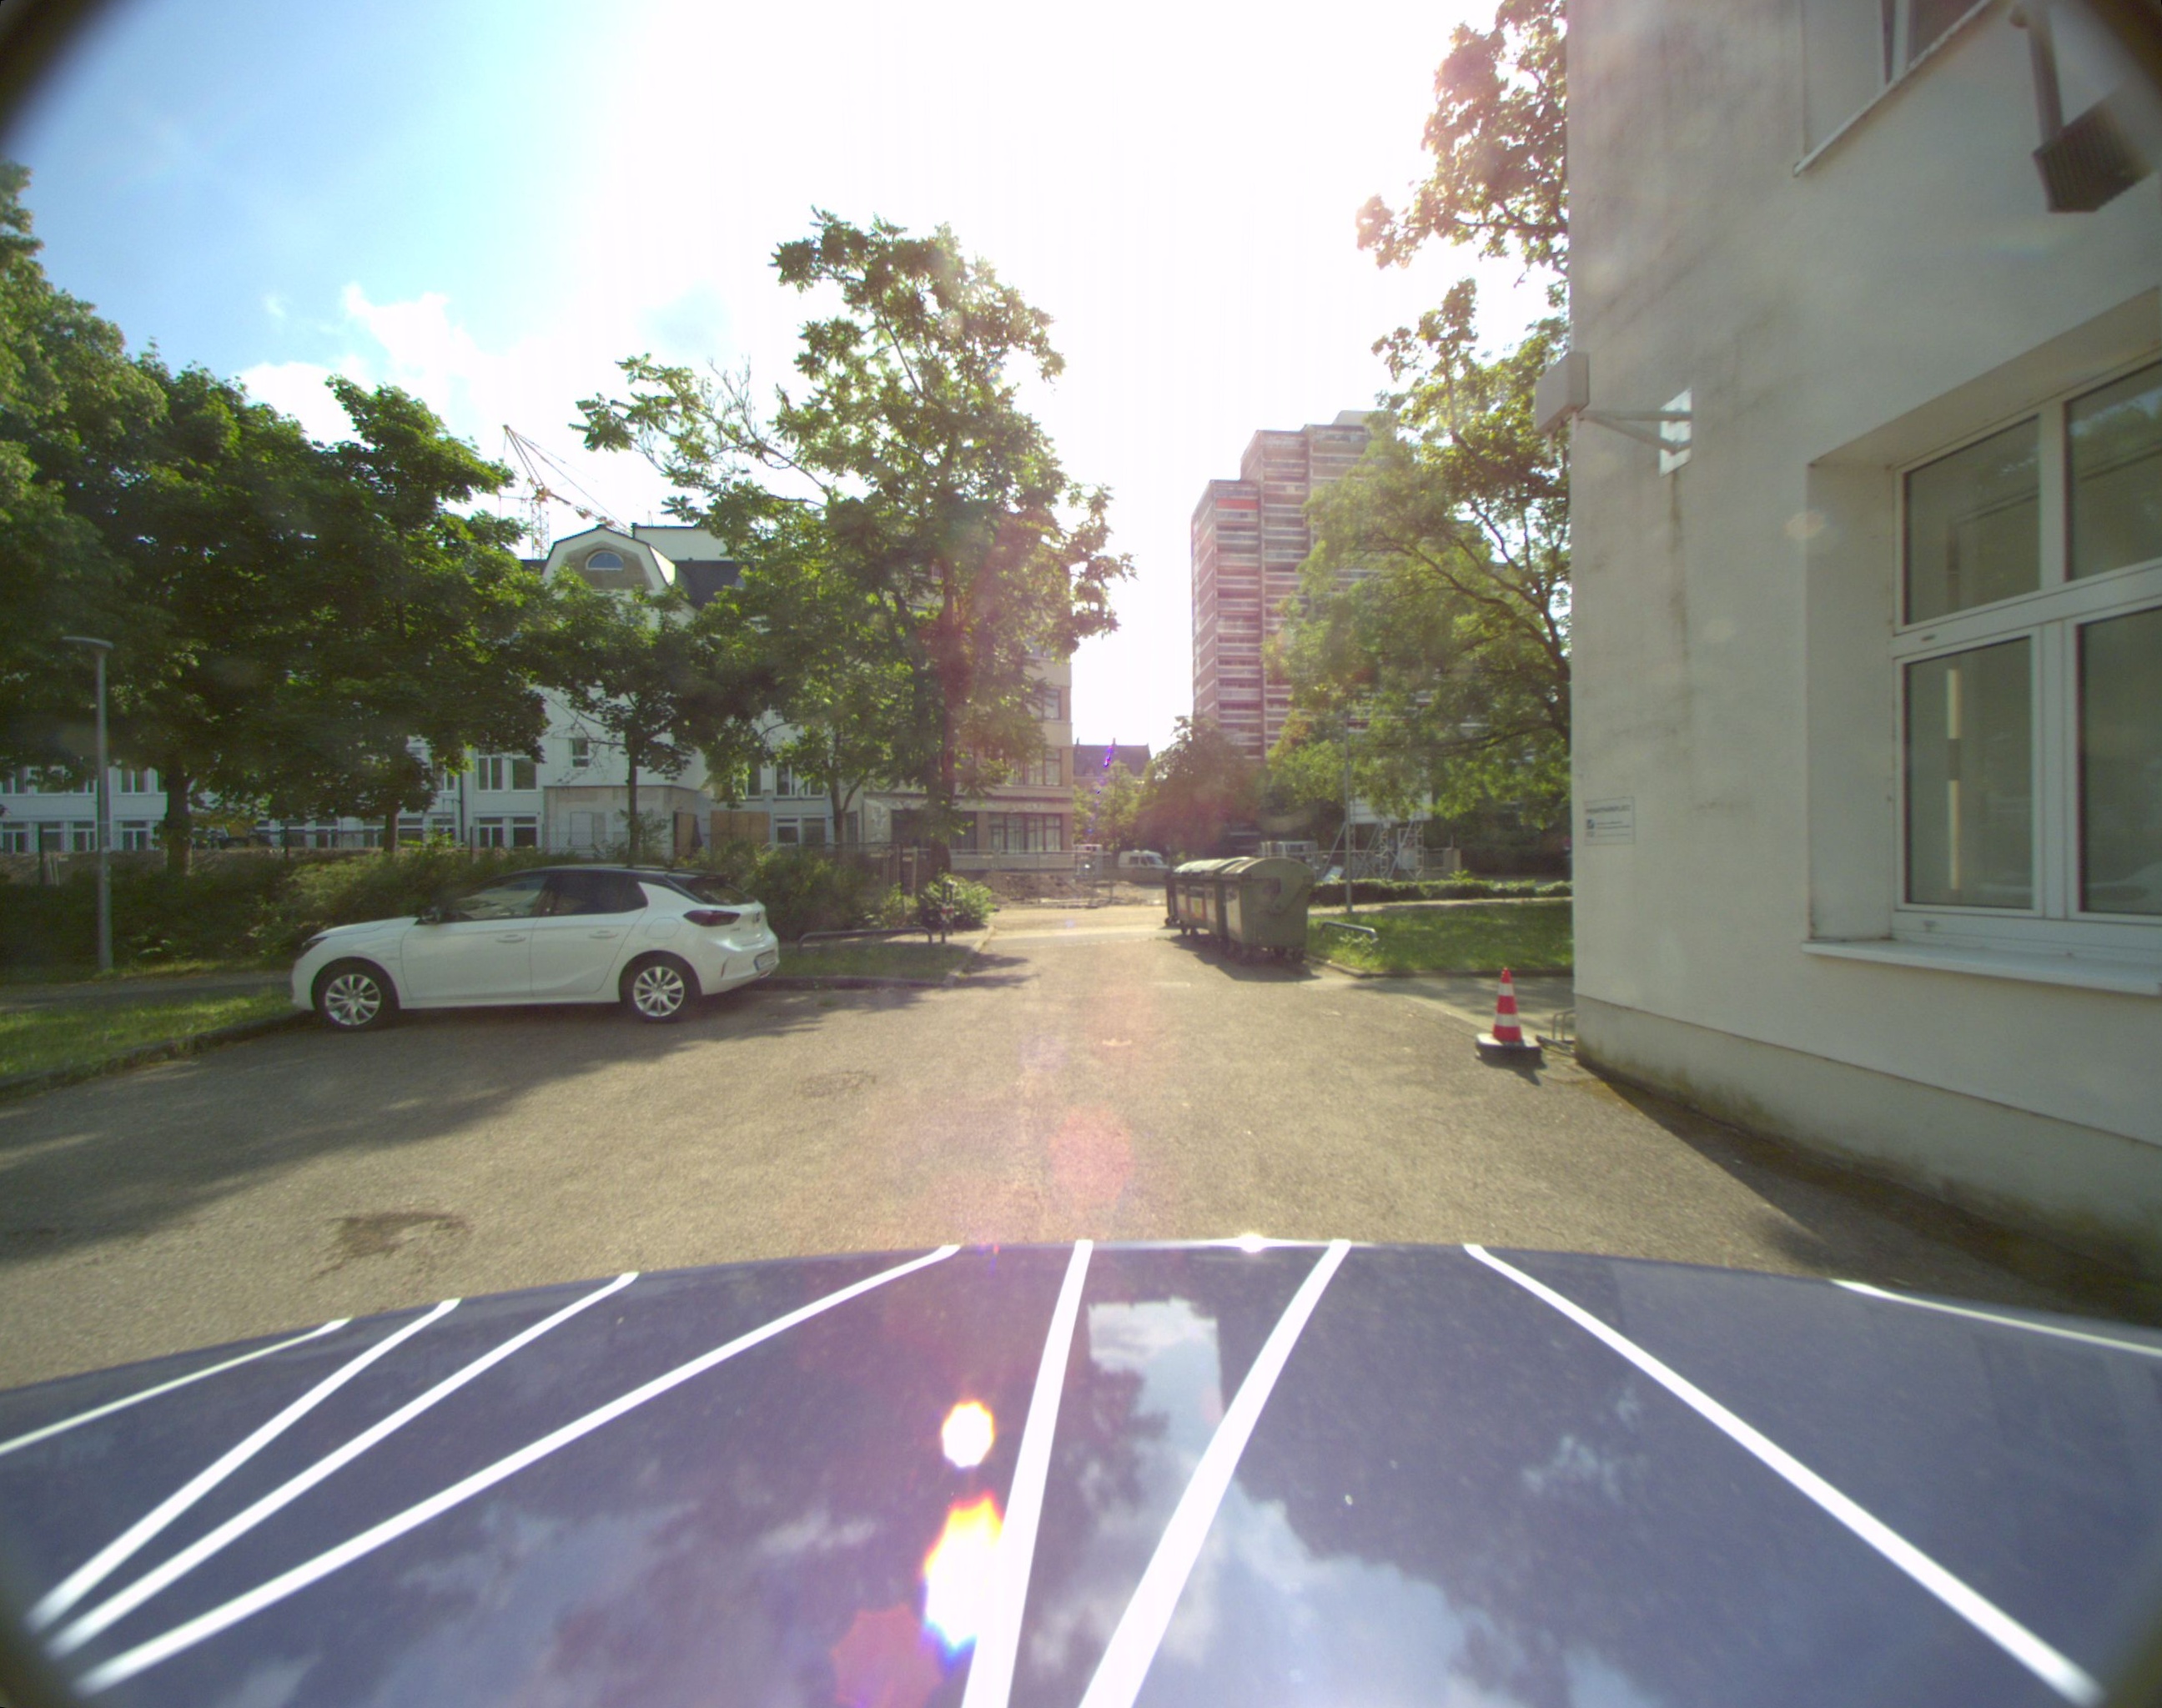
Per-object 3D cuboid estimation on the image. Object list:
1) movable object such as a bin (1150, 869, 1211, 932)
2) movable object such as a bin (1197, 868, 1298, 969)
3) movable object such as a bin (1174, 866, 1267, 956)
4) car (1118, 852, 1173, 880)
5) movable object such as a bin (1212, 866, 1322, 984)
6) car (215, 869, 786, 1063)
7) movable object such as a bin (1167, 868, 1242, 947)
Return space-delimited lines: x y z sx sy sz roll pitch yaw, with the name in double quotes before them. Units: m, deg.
"movable object such as a bin" 2.458 1.116 18.589 1.247 1.473 1.298 -2 -1 16
"movable object such as a bin" 2.602 0.991 12.072 1.227 1.443 1.283 -4 -1 0
"movable object such as a bin" 2.463 0.981 13.552 1.103 1.443 1.232 -4 0 -16
"car" 5.367 0.957 64.011 2.003 2.003 5.294 -2 3 -30
"movable object such as a bin" 2.556 0.945 10.625 1.102 1.443 1.343 -4 1 -1
"car" -5.104 0.923 7.249 3.916 1.412 1.757 -1 1 -8
"movable object such as a bin" 2.402 1.009 14.954 1.103 1.443 1.342 -1 0 -6
